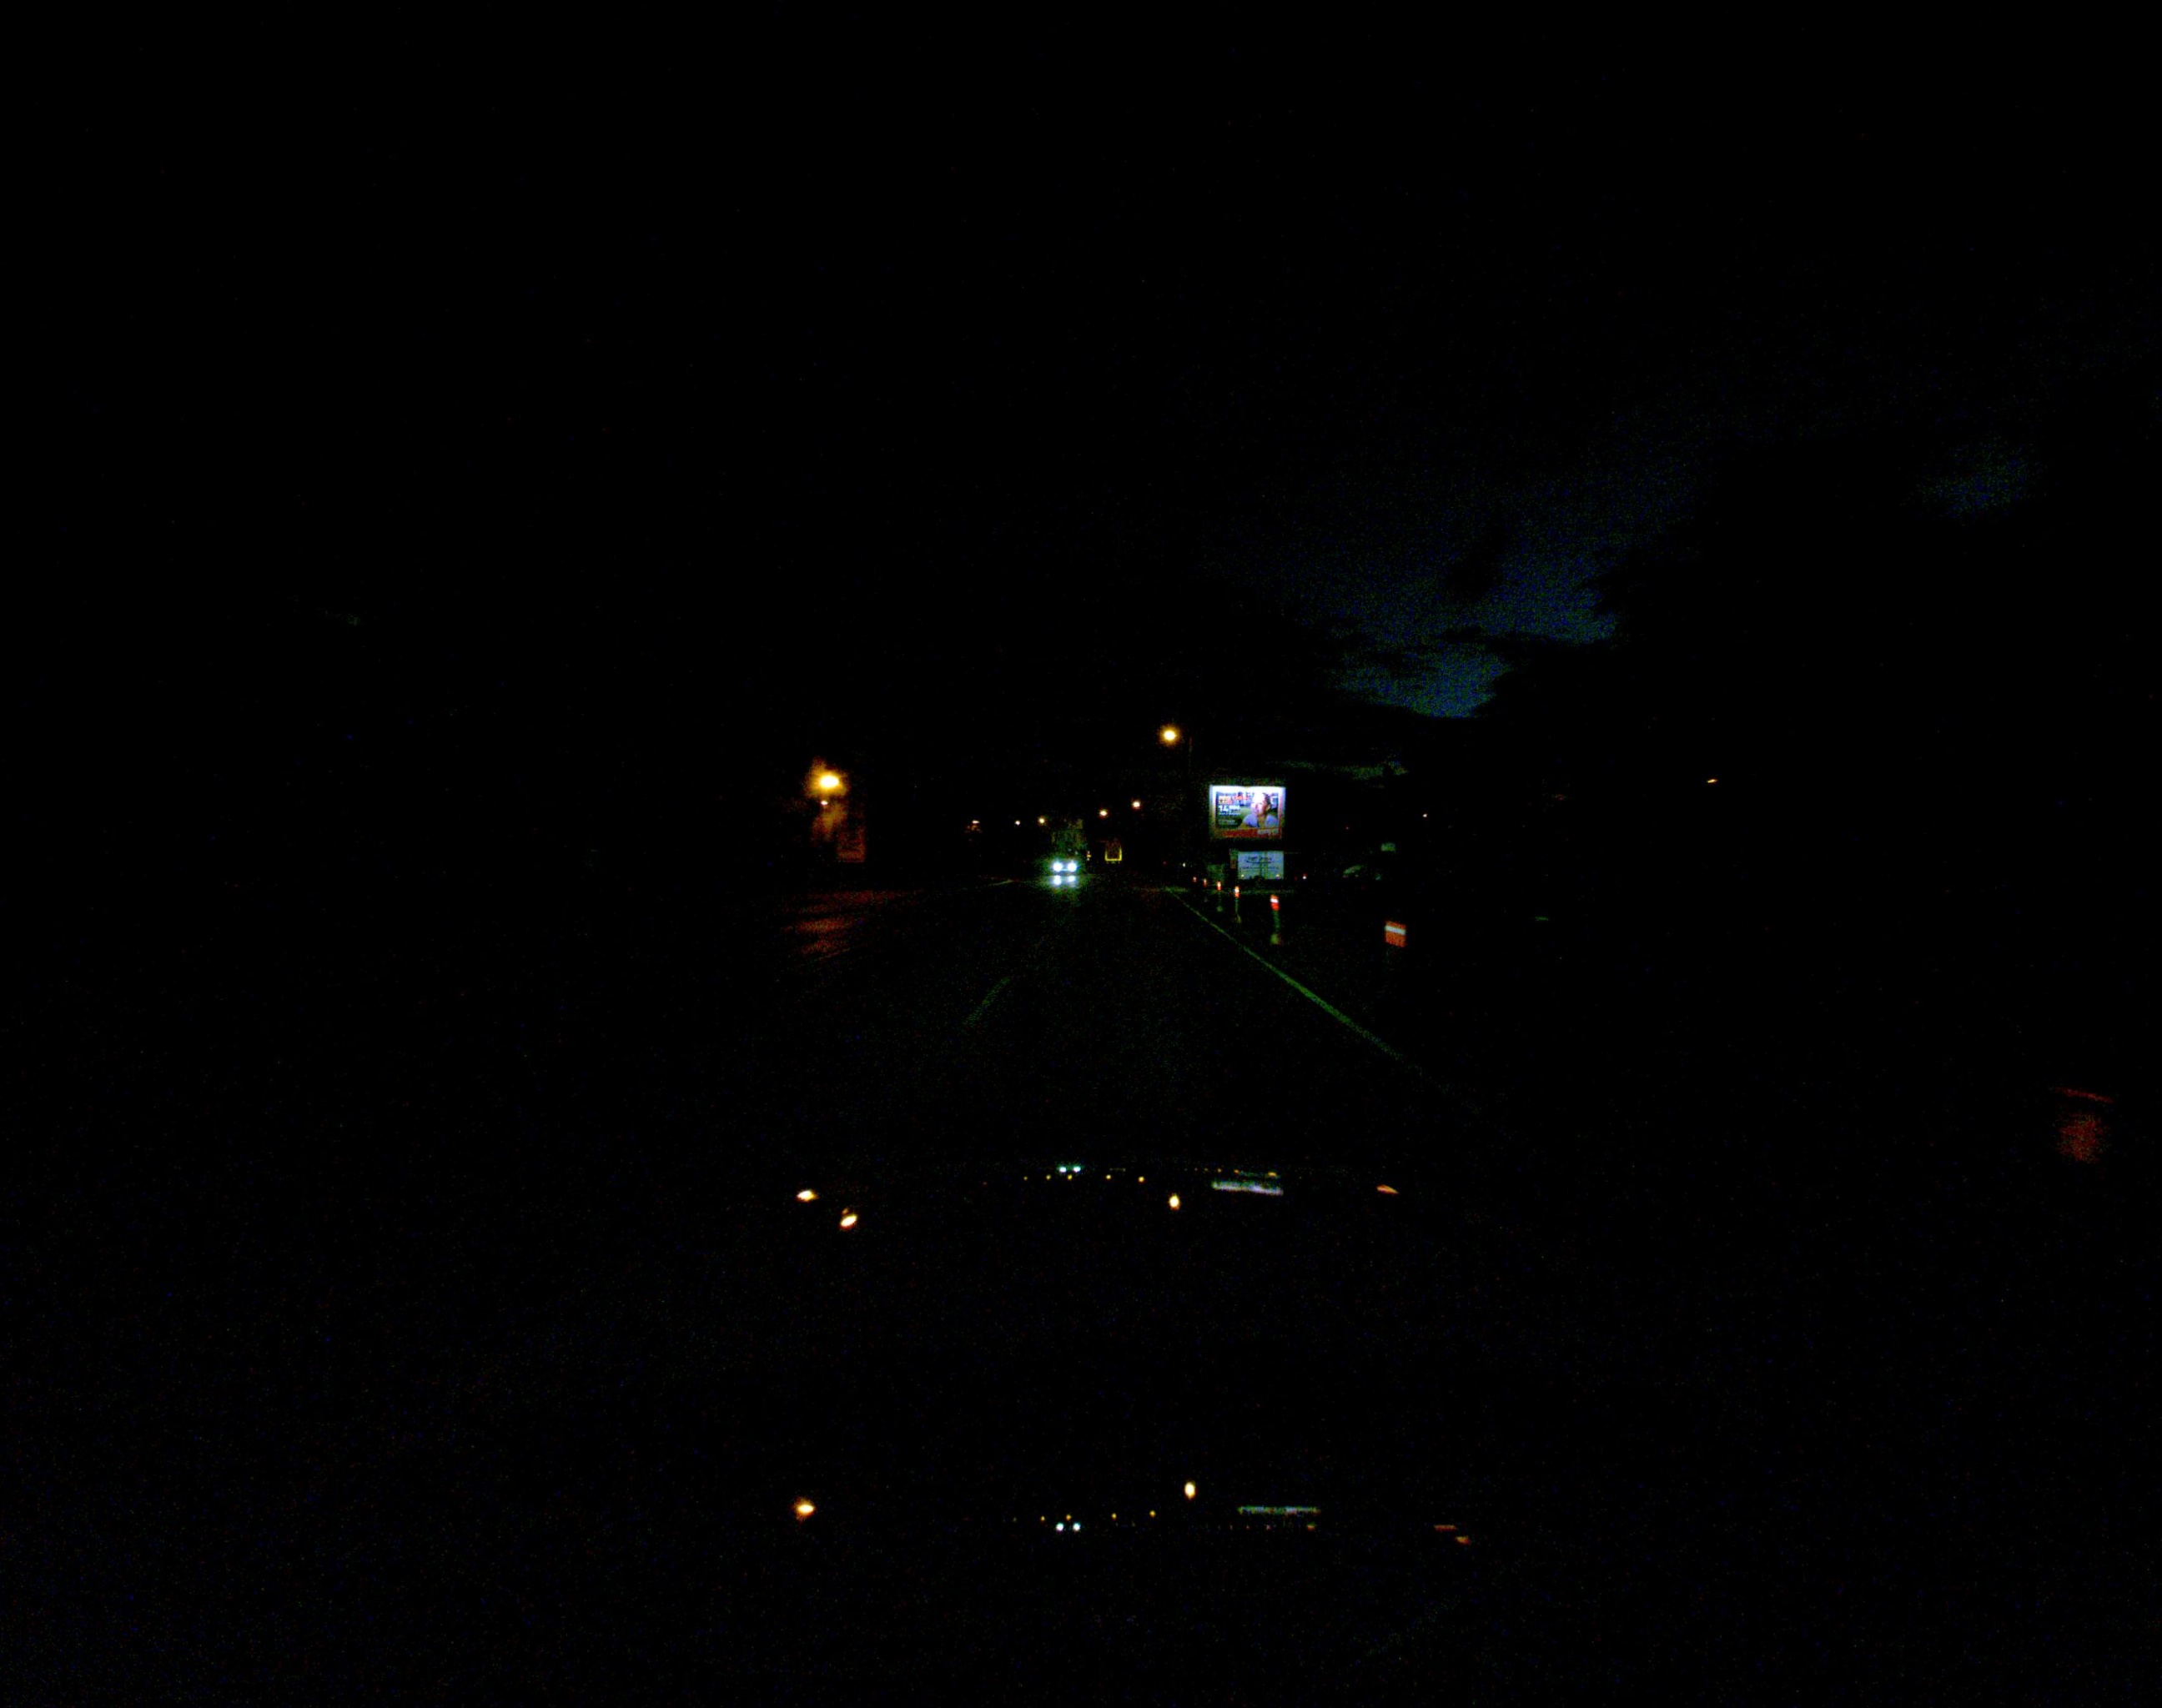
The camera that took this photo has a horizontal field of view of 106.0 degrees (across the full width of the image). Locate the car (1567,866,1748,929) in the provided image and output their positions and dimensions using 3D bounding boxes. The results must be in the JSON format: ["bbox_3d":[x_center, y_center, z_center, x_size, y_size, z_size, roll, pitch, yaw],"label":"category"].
[{"bbox_3d":[15.962,1.176,22.691,3.842,1.604,1.709,1,-1,1],"label":"car"}]

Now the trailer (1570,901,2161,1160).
[{"bbox_3d":[6.628,1.112,4.977,2.163,0.967,9.628,3,0,5],"label":"trailer"}]

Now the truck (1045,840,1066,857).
[{"bbox_3d":[-6.033,-1.257,191.072,3.520,3.983,10.309,0,0,-9],"label":"truck"}]

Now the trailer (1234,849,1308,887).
[{"bbox_3d":[10.436,0.744,44.766,3.712,2.013,1.624,0,0,27],"label":"trailer"}]

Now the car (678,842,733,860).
[{"bbox_3d":[-35.670,-0.266,77.484,4.337,1.589,1.903,2,0,-12],"label":"car"}]

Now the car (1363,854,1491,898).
[{"bbox_3d":[15.831,0.971,37.476,5.049,1.836,1.992,1,-1,5],"label":"car"}]

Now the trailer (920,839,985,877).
[{"bbox_3d":[-9.359,0.251,59.423,4.331,2.720,2.001,0,0,2],"label":"trailer"}]

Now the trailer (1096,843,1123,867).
[{"bbox_3d":[4.772,0.141,141.350,2.805,3.983,13.946,0,0,-6],"label":"trailer"}]

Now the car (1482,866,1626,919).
[{"bbox_3d":[15.732,1.261,27.220,3.842,1.596,1.709,1,-1,1],"label":"car"}]

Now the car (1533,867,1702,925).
[{"bbox_3d":[16.086,1.236,24.601,3.838,1.561,1.904,1,0,4],"label":"car"}]

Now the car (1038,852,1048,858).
[{"bbox_3d":[-9.544,0.294,205.941,1.854,1.519,3.802,0,0,-13],"label":"car"}]

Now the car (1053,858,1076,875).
[{"bbox_3d":[-1.585,1.274,81.806,1.986,1.627,4.755,1,0,2],"label":"car"}]

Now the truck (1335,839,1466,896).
[{"bbox_3d":[15.611,0.663,40.081,5.509,2.600,2.473,1,0,2],"label":"truck"}]

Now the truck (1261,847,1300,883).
[{"bbox_3d":[16.564,0.889,68.045,2.172,2.748,7.329,2,0,7],"label":"truck"}]

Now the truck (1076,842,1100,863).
[{"bbox_3d":[1.240,-0.316,158.407,2.831,3.983,10.305,0,0,-10],"label":"truck"}]

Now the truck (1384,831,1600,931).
[{"bbox_3d":[11.047,0.653,22.911,2.368,2.284,7.747,1,0,2],"label":"truck"}]
